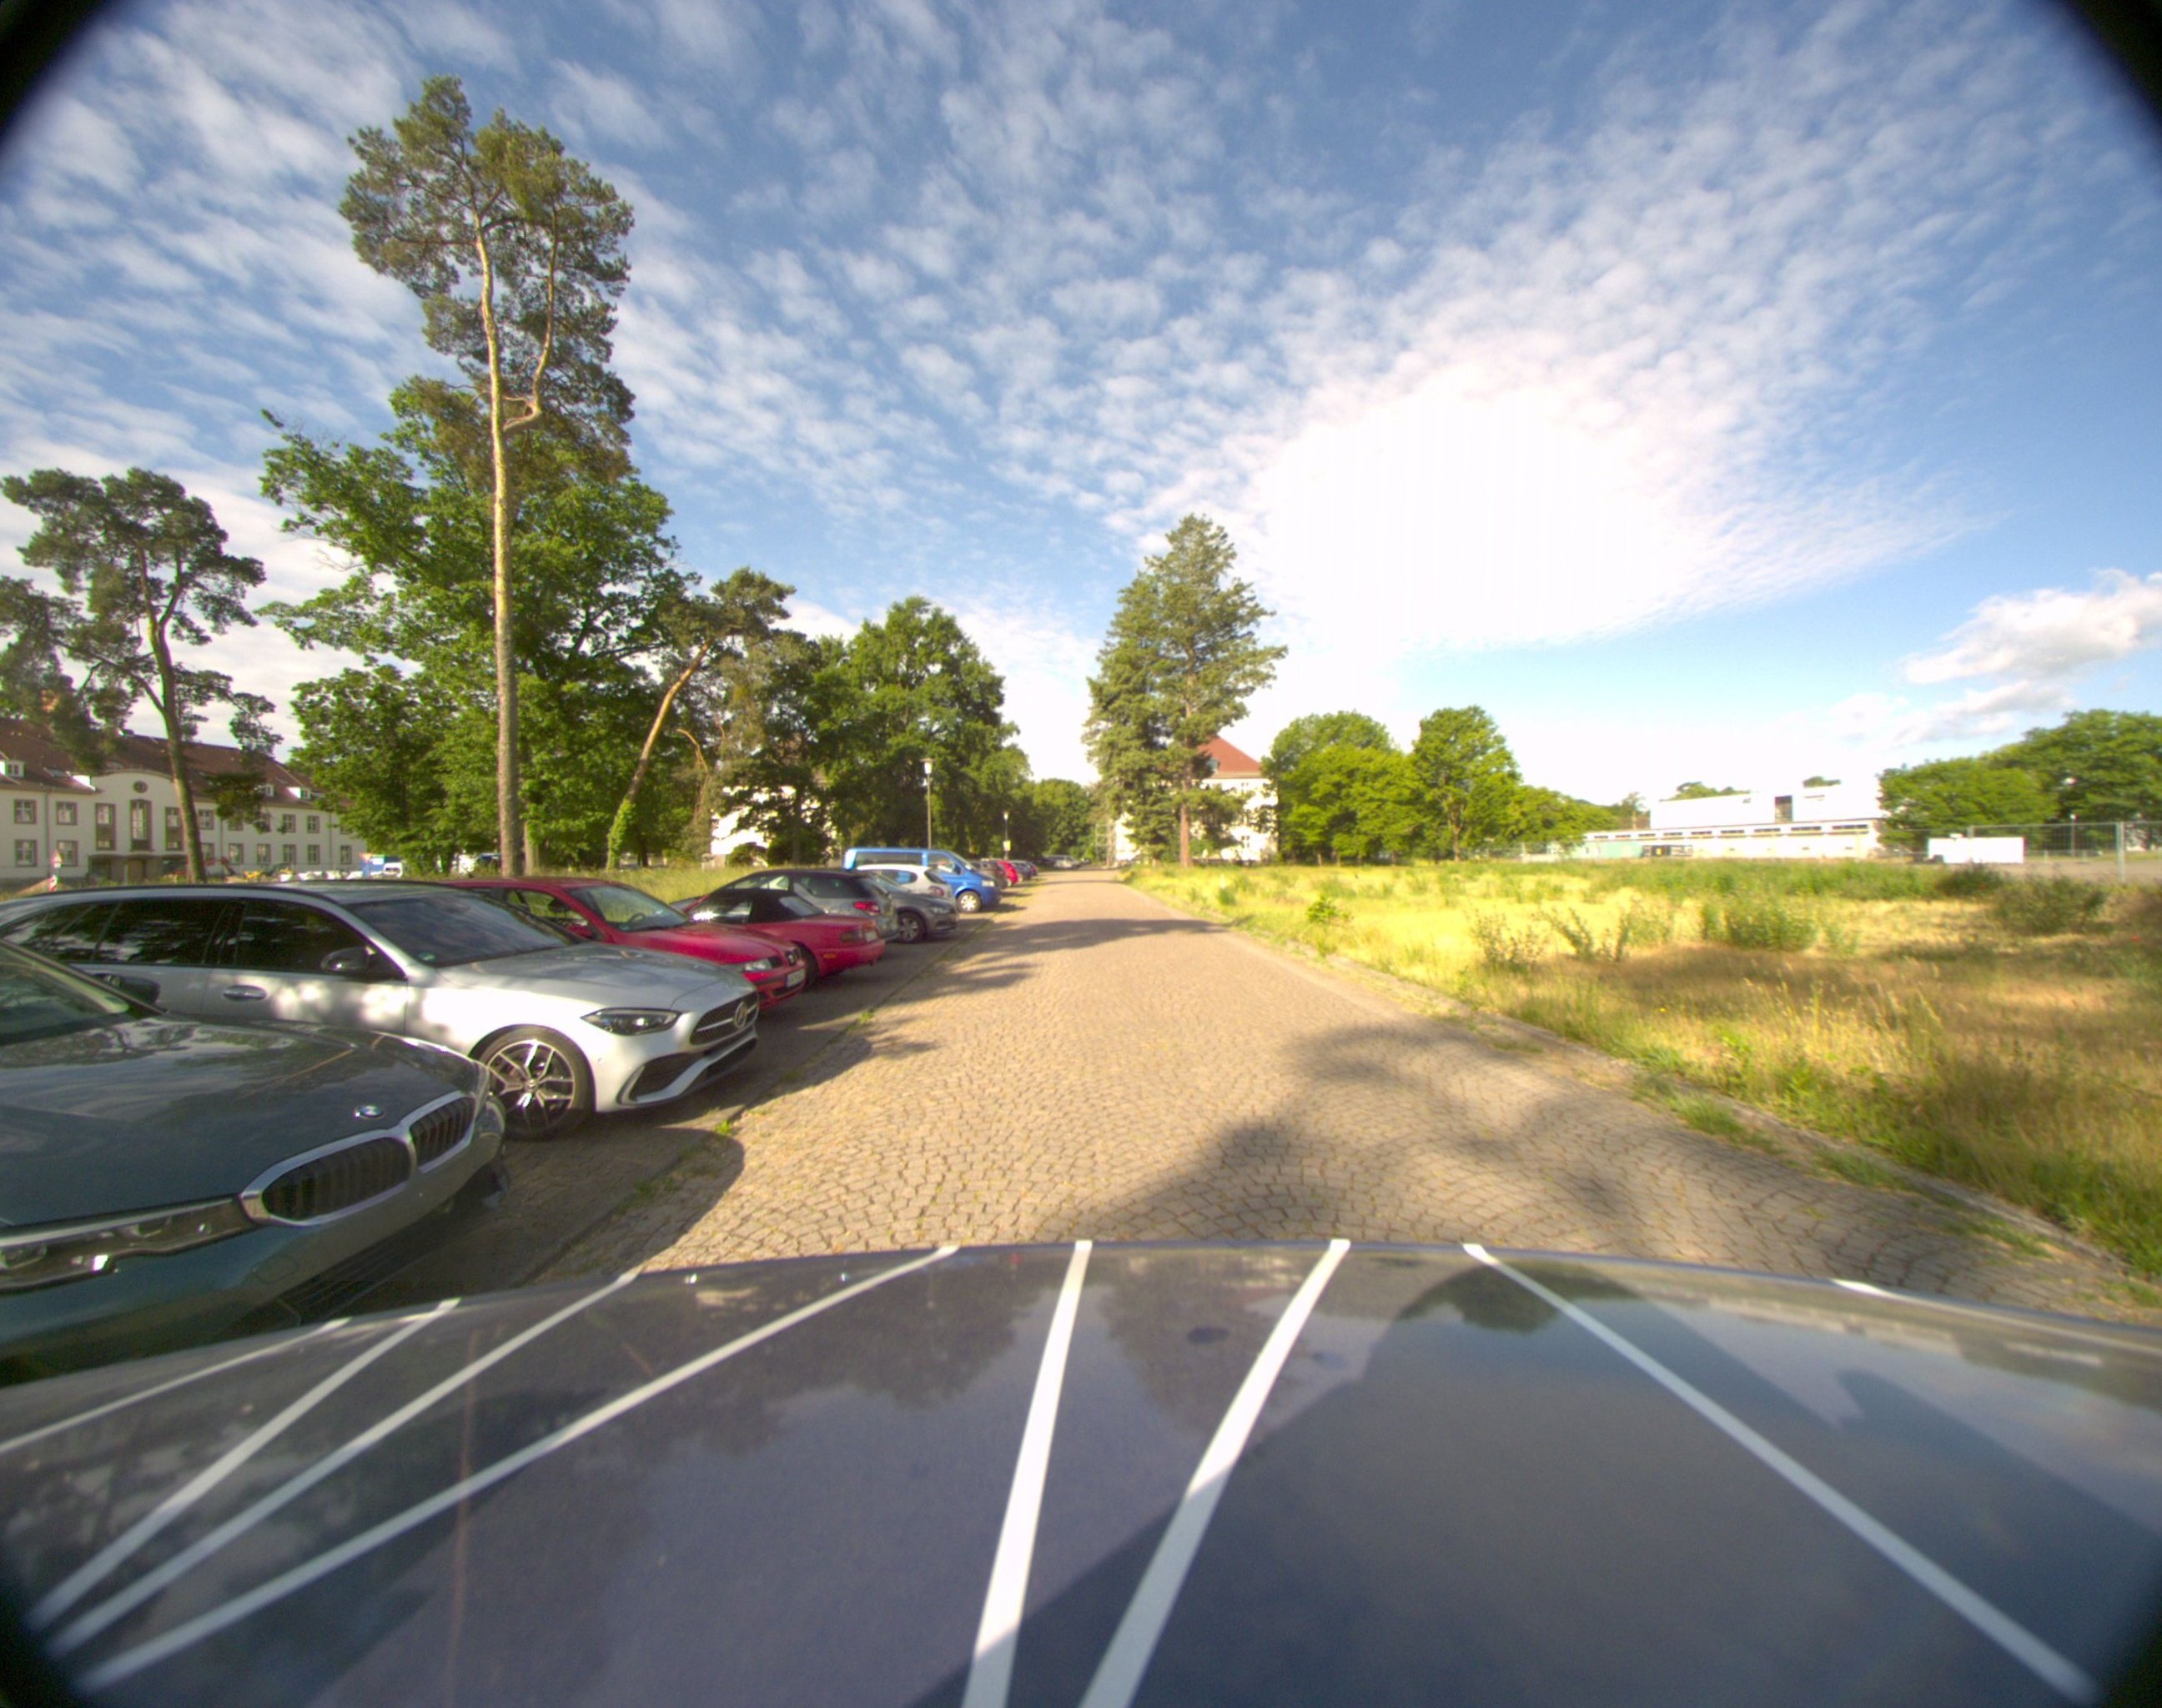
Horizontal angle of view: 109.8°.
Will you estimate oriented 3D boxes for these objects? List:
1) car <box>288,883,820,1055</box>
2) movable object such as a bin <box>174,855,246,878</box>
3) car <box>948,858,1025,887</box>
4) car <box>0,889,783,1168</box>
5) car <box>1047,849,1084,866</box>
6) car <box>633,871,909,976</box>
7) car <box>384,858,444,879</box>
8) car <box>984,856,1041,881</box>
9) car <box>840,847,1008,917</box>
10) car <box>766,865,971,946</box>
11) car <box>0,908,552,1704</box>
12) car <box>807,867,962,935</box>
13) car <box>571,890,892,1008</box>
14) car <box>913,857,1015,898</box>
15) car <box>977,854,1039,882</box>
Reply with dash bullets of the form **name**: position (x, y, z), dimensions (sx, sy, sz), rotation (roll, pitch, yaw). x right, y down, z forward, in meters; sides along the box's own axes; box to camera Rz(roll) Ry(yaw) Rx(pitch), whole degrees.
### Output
- **car**: position (-4.751, 1.019, 7.296), dimensions (3.918, 1.385, 1.660), rotation (0, 0, -1)
- **movable object such as a bin**: position (-91.357, 1.277, 79.771), dimensions (1.999, 2.309, 4.985), rotation (-1, 0, -4)
- **car**: position (-5.274, 1.027, 42.736), dimensions (3.996, 1.509, 1.757), rotation (-1, 0, 2)
- **car**: position (-4.539, 0.998, 5.011), dimensions (4.423, 1.394, 1.826), rotation (1, 0, -1)
- **car**: position (-2.207, 0.450, 106.401), dimensions (5.068, 2.251, 2.000), rotation (-1, 1, 0)
- **car**: position (-4.852, 1.061, 12.244), dimensions (3.779, 1.482, 1.549), rotation (-1, 1, -1)
- **car**: position (-69.258, 1.484, 79.005), dimensions (1.998, 2.002, 4.772), rotation (-1, 0, 1)
- **car**: position (-5.174, 1.092, 57.731), dimensions (3.996, 1.605, 1.757), rotation (-4, 1, 4)
- **car**: position (-4.733, 0.812, 23.443), dimensions (4.726, 2.002, 2.000), rotation (-1, 1, 1)
- **car**: position (-4.194, 0.993, 15.210), dimensions (3.621, 1.482, 1.509), rotation (-1, 1, 9)
- **car**: position (-4.524, 0.984, 2.278), dimensions (4.507, 1.508, 1.825), rotation (0, 0, -4)
- **car**: position (-4.609, 1.081, 18.061), dimensions (3.264, 1.482, 1.449), rotation (-1, 1, 2)
- **car**: position (-4.245, 1.141, 9.581), dimensions (3.357, 1.248, 1.419), rotation (-1, 0, -1)
- **car**: position (-4.924, 0.980, 32.379), dimensions (3.996, 1.630, 1.757), rotation (-1, 1, 2)
- **car**: position (-5.066, 0.943, 52.924), dimensions (3.996, 1.731, 1.757), rotation (-2, 0, 2)
